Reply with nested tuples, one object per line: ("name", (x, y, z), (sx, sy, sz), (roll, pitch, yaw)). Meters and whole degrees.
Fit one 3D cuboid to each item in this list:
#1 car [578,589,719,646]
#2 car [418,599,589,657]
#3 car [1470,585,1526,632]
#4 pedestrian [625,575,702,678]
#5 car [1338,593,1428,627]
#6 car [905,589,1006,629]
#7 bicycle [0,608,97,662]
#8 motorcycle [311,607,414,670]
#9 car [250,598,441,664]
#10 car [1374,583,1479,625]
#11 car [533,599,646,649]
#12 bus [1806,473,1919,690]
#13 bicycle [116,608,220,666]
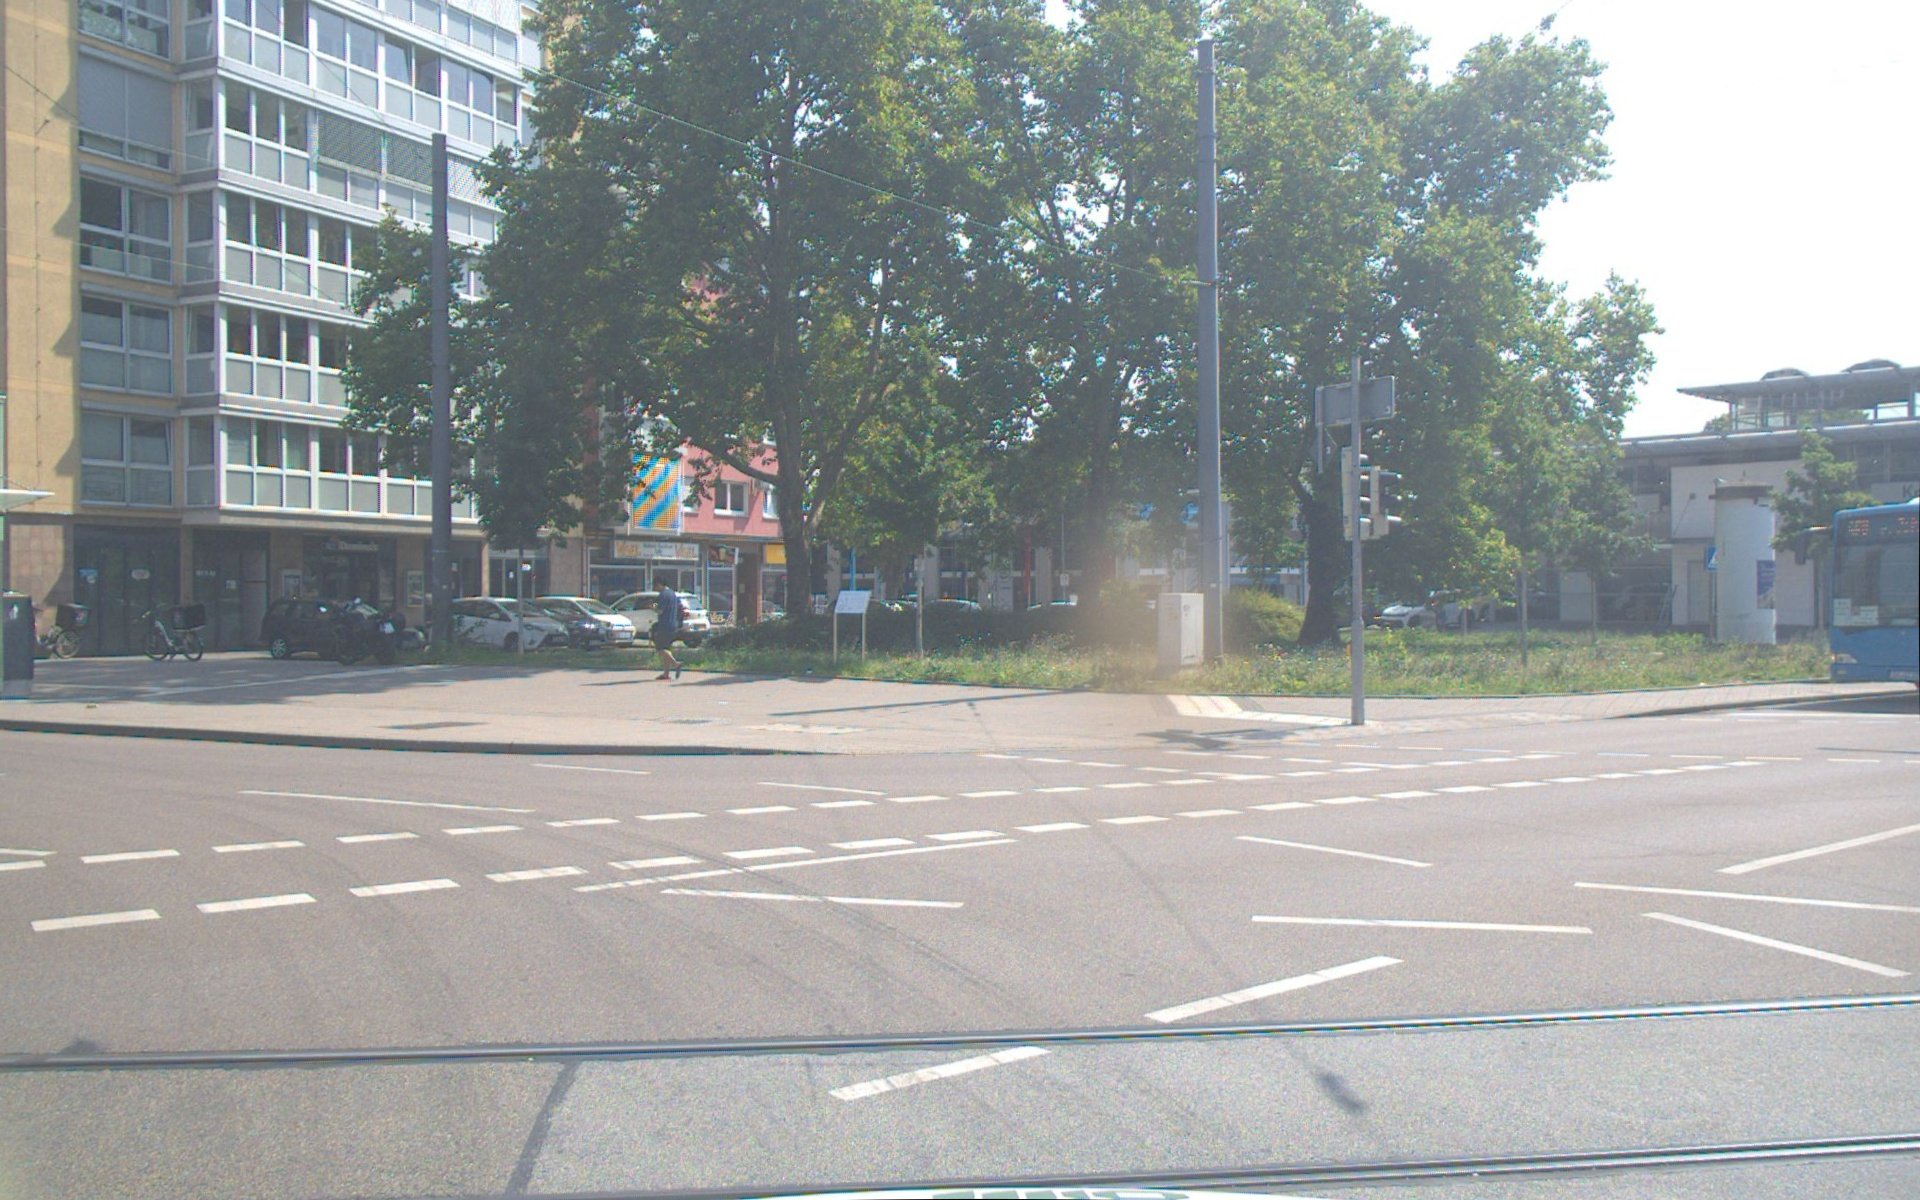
("car", (-9.662, 0.539, 51.292), (3.978, 1.695, 1.790), (0, 0, 24))
("car", (-12.241, 0.740, 44.346), (4.147, 1.496, 1.905), (0, 0, 24))
("car", (25.229, 0.368, 77.411), (2.278, 2.048, 6.811), (2, 1, 20))
("pedestrian", (-4.818, 0.427, 26.891), (0.927, 1.637, 0.793), (-1, 0, 23))
("car", (19.736, 0.445, 77.094), (3.952, 1.534, 1.976), (-1, 0, -34))
("car", (-0.200, 0.378, 71.505), (3.978, 1.695, 1.790), (0, 0, 24))
("bicycle", (-20.770, 0.783, 37.598), (0.586, 1.163, 1.959), (-1, 0, 41))
("motorcycle", (-11.386, 0.724, 31.472), (2.072, 1.156, 0.908), (-1, 0, 39))
("car", (-14.745, 0.722, 39.688), (4.147, 1.496, 1.905), (0, 0, 24))
("car", (20.517, 0.170, 72.817), (4.174, 1.784, 1.710), (-1, 0, -14))
("car", (-10.998, 0.701, 49.110), (3.026, 1.454, 1.403), (0, 0, 24))
("bus", (18.738, -0.300, 27.194), (11.918, 3.118, 2.706), (0, 0, -31))
("bicycle", (-17.589, 0.812, 36.727), (2.379, 1.260, 0.794), (-1, 0, 26))
